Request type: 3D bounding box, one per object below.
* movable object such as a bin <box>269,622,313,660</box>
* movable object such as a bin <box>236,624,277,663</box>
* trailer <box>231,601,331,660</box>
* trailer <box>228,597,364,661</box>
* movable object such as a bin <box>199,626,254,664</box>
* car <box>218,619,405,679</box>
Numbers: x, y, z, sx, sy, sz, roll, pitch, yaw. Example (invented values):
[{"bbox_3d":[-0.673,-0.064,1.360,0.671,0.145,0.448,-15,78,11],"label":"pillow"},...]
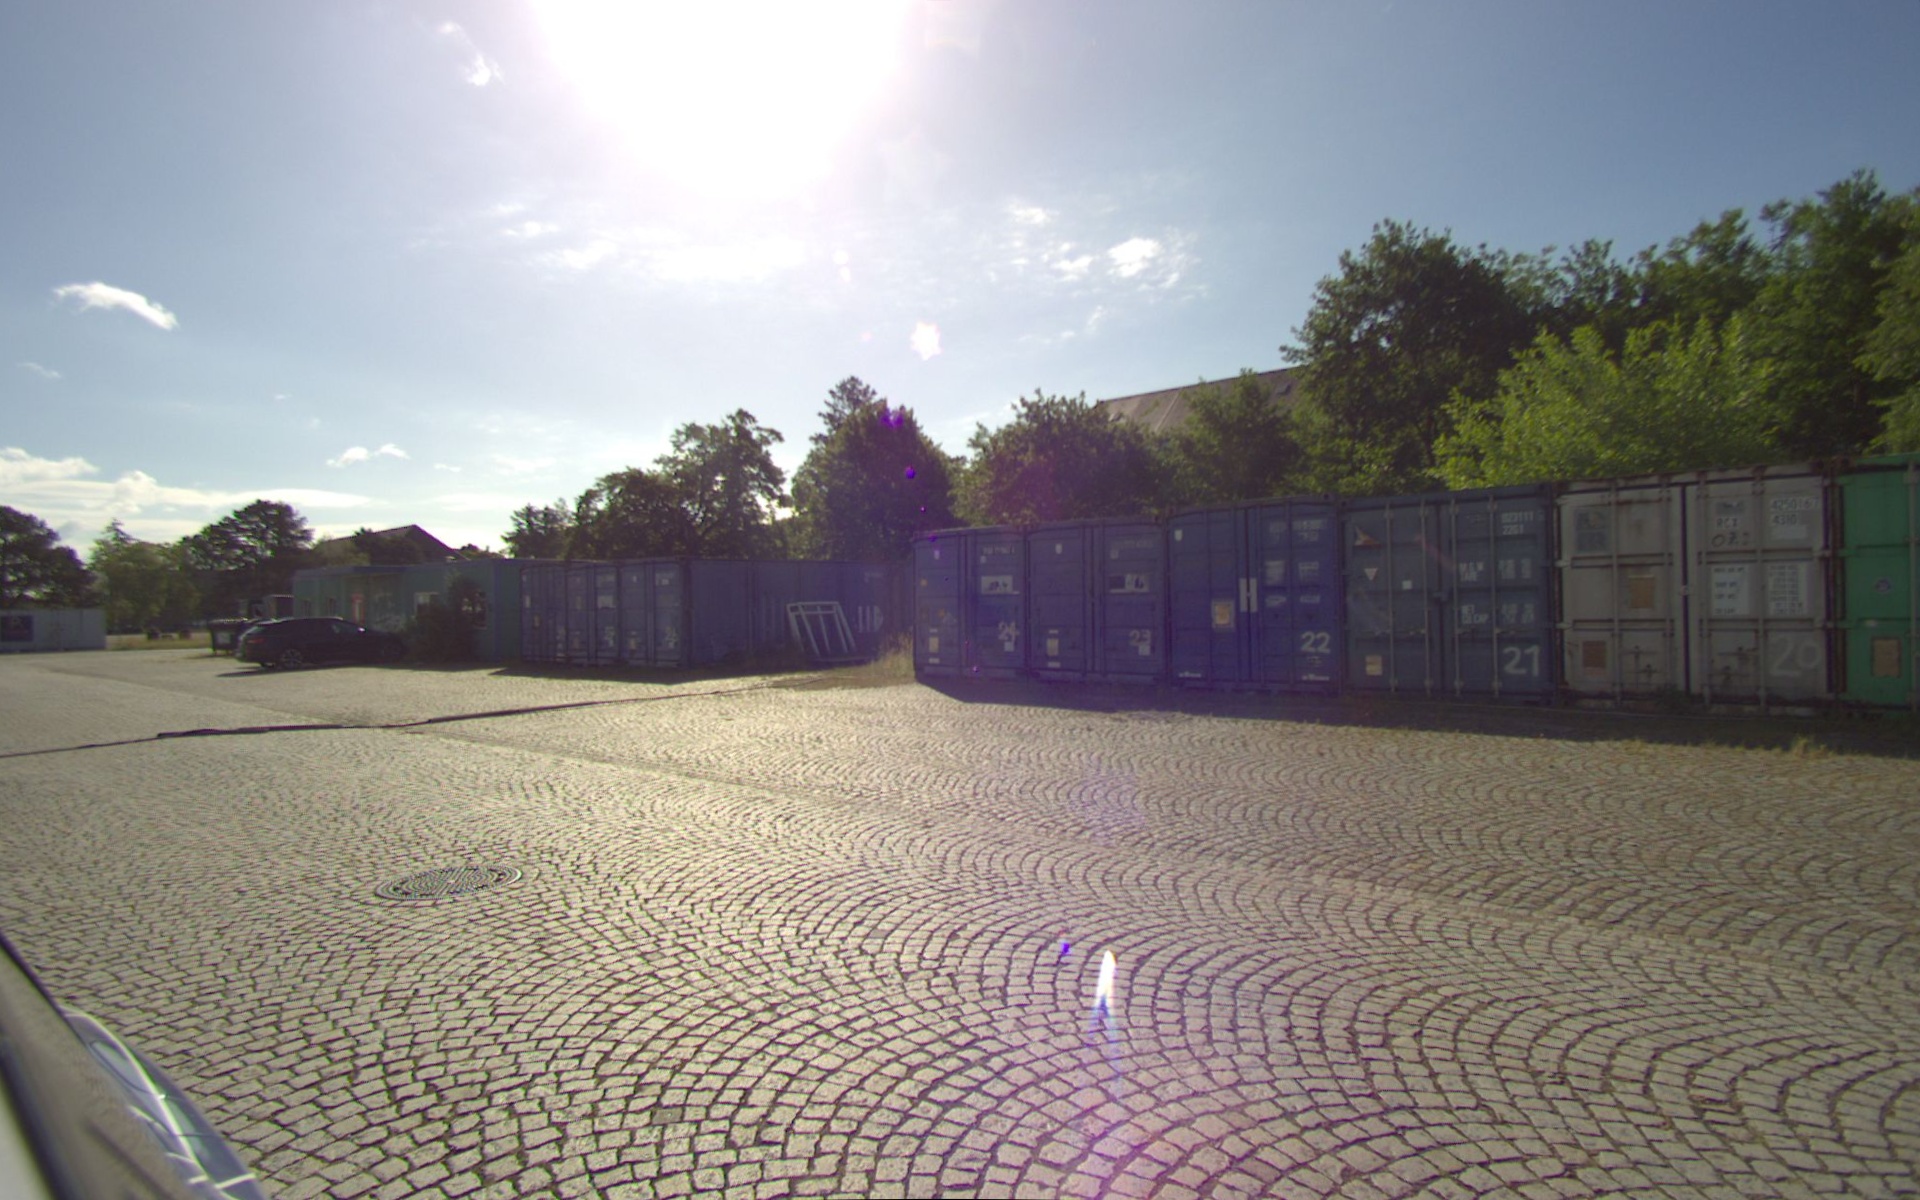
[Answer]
[{"bbox_3d":[-26.542,1.625,40.138,1.435,1.469,0.876,-1,0,30],"label":"movable object such as a bin"},{"bbox_3d":[-28.285,1.732,40.676,1.439,1.469,1.007,-1,1,41],"label":"movable object such as a bin"},{"bbox_3d":[-31.034,1.353,46.273,2.044,2.488,3.349,-1,1,41],"label":"trailer"},{"bbox_3d":[-29.209,1.229,44.643,1.948,2.587,4.594,-1,1,37],"label":"trailer"},{"bbox_3d":[-30.190,1.847,41.692,1.416,1.469,1.158,-2,0,-6],"label":"movable object such as a bin"},{"bbox_3d":[-18.919,1.382,29.678,1.929,1.460,4.210,-1,1,39],"label":"car"}]
